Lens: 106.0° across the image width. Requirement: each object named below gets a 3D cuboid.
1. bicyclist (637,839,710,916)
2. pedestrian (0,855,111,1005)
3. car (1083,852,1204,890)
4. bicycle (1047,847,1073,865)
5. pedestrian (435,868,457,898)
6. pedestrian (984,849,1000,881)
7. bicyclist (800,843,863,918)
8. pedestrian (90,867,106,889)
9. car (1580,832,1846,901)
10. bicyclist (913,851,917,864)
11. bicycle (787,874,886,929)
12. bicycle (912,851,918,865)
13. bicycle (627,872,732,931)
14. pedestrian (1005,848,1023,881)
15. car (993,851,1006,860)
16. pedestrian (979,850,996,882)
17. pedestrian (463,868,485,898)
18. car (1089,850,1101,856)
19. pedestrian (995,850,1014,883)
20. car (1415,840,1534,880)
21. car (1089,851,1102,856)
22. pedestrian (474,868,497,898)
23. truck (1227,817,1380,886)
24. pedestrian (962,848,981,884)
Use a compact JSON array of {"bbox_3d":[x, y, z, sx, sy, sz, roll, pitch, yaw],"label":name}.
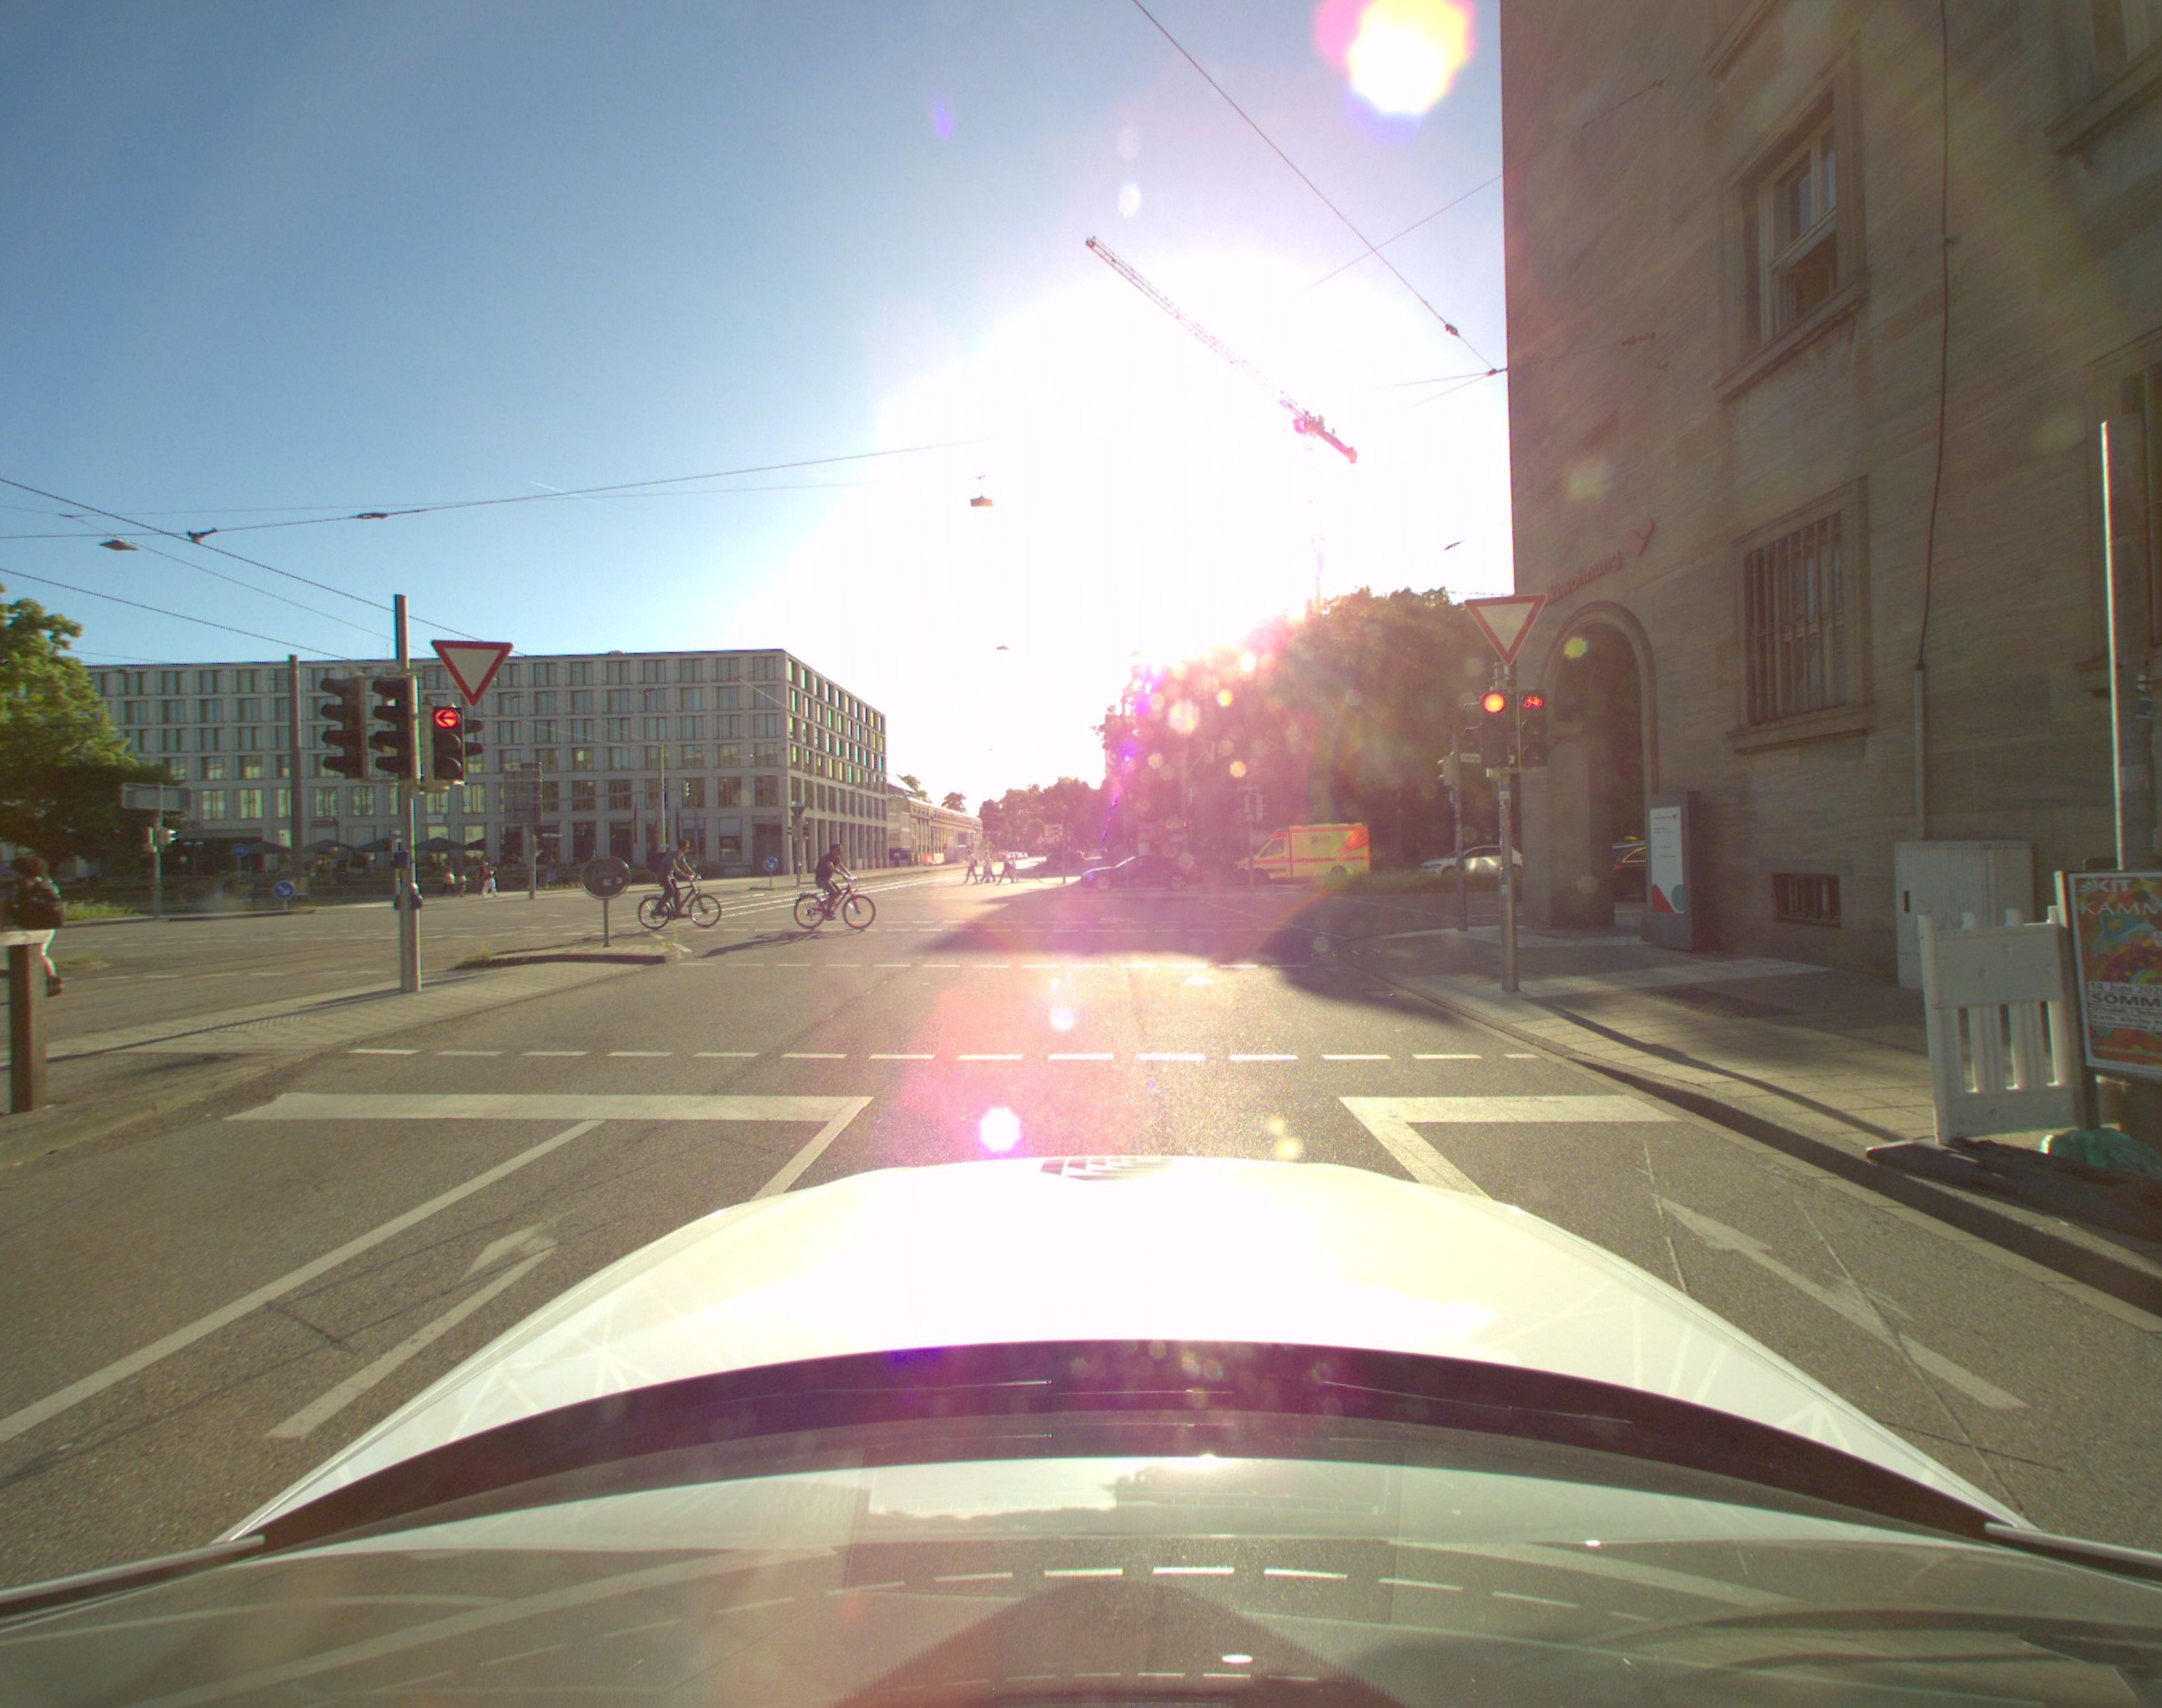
[{"bbox_3d":[-8.884,0.500,17.774,1.118,1.594,0.768,-2,2,5],"label":"bicyclist"},{"bbox_3d":[-12.550,0.879,9.779,0.756,1.717,0.826,-2,0,-3],"label":"pedestrian"},{"bbox_3d":[2.500,0.700,33.000,4.718,1.415,2.000,-1,-2,1],"label":"car"},{"bbox_3d":[-2.144,0.221,81.753,2.538,1.743,1.038,0,-1,1],"label":"bicycle"},{"bbox_3d":[-34.651,1.575,44.430,0.690,1.644,0.623,-2,0,9],"label":"pedestrian"},{"bbox_3d":[-5.117,0.603,46.731,0.735,1.803,0.533,-2,0,7],"label":"pedestrian"},{"bbox_3d":[-5.210,0.547,17.042,0.997,1.512,0.768,0,2,5],"label":"bicyclist"},{"bbox_3d":[-75.211,1.817,62.296,0.538,1.669,0.561,0,-1,-2],"label":"pedestrian"},{"bbox_3d":[15.760,0.279,20.576,4.917,1.511,2.214,-2,1,4],"label":"car"},{"bbox_3d":[-26.827,0.520,131.556,0.569,2.024,0.762,-2,0,0],"label":"bicyclist"},{"bbox_3d":[-5.105,0.977,17.049,1.804,1.085,0.768,0,2,5],"label":"bicycle"},{"bbox_3d":[-26.823,0.652,131.521,0.569,2.296,1.422,-2,0,0],"label":"bicycle"},{"bbox_3d":[-8.744,1.028,17.783,1.864,1.158,0.767,-2,2,4],"label":"bicycle"},{"bbox_3d":[-3.771,0.592,46.009,0.865,1.803,0.533,-2,0,7],"label":"pedestrian"},{"bbox_3d":[-15.728,0.265,156.945,1.888,1.607,4.499,-2,0,0],"label":"car"},{"bbox_3d":[-5.273,0.670,45.783,0.735,1.803,0.717,-2,0,7],"label":"pedestrian"},{"bbox_3d":[-33.964,1.608,45.571,0.692,1.644,0.621,-2,0,-3],"label":"pedestrian"},{"bbox_3d":[3.659,-0.235,213.647,3.207,1.588,1.445,0,-1,-3],"label":"car"},{"bbox_3d":[-4.285,0.705,45.417,0.865,1.803,0.665,-2,0,7],"label":"pedestrian"},{"bbox_3d":[15.858,0.240,32.936,4.029,1.434,1.632,-2,-1,0],"label":"car"},{"bbox_3d":[3.716,-0.124,211.375,3.210,1.263,1.371,0,-1,-4],"label":"car"},{"bbox_3d":[-32.571,1.583,44.556,0.790,1.644,0.621,-2,0,-3],"label":"pedestrian"},{"bbox_3d":[10.345,-0.104,38.387,6.443,3.016,2.727,-1,0,2],"label":"truck"},{"bbox_3d":[-5.986,0.650,44.554,0.797,1.918,0.638,-2,0,7],"label":"pedestrian"}]
